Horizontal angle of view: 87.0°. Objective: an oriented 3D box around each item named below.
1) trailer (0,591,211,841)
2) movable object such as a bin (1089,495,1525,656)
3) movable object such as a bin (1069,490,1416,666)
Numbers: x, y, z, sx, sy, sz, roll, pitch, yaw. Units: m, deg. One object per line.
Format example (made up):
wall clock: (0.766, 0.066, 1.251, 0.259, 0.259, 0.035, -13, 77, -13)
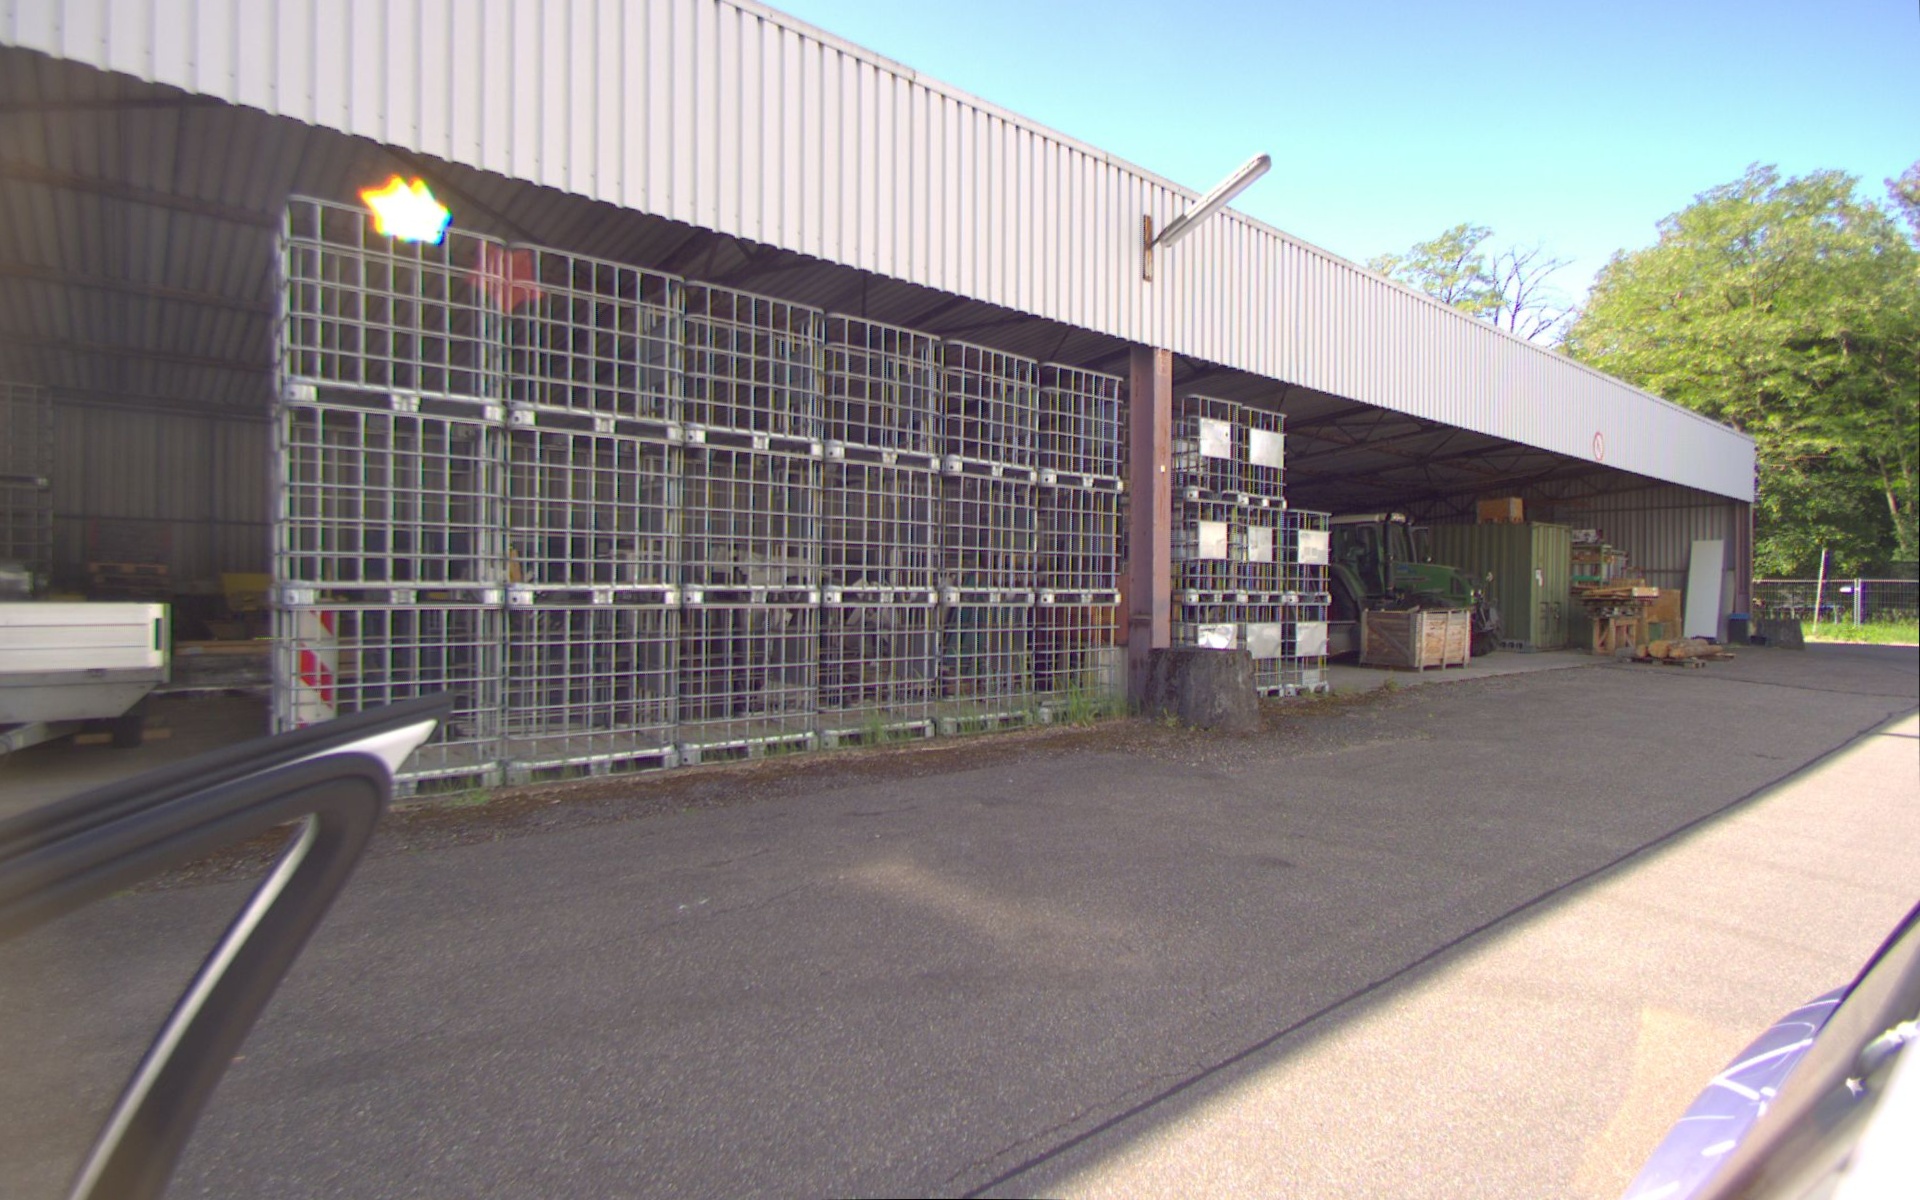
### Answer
trailer: (-6.746, 0.543, 6.940, 2.104, 1.147, 5.857, 0, 1, -41)
movable object such as a bin: (7.374, -0.493, 23.130, 3.154, 2.947, 9.213, 0, 0, -39)
movable object such as a bin: (5.437, -0.402, 20.382, 2.962, 2.947, 6.199, 0, 0, -39)
